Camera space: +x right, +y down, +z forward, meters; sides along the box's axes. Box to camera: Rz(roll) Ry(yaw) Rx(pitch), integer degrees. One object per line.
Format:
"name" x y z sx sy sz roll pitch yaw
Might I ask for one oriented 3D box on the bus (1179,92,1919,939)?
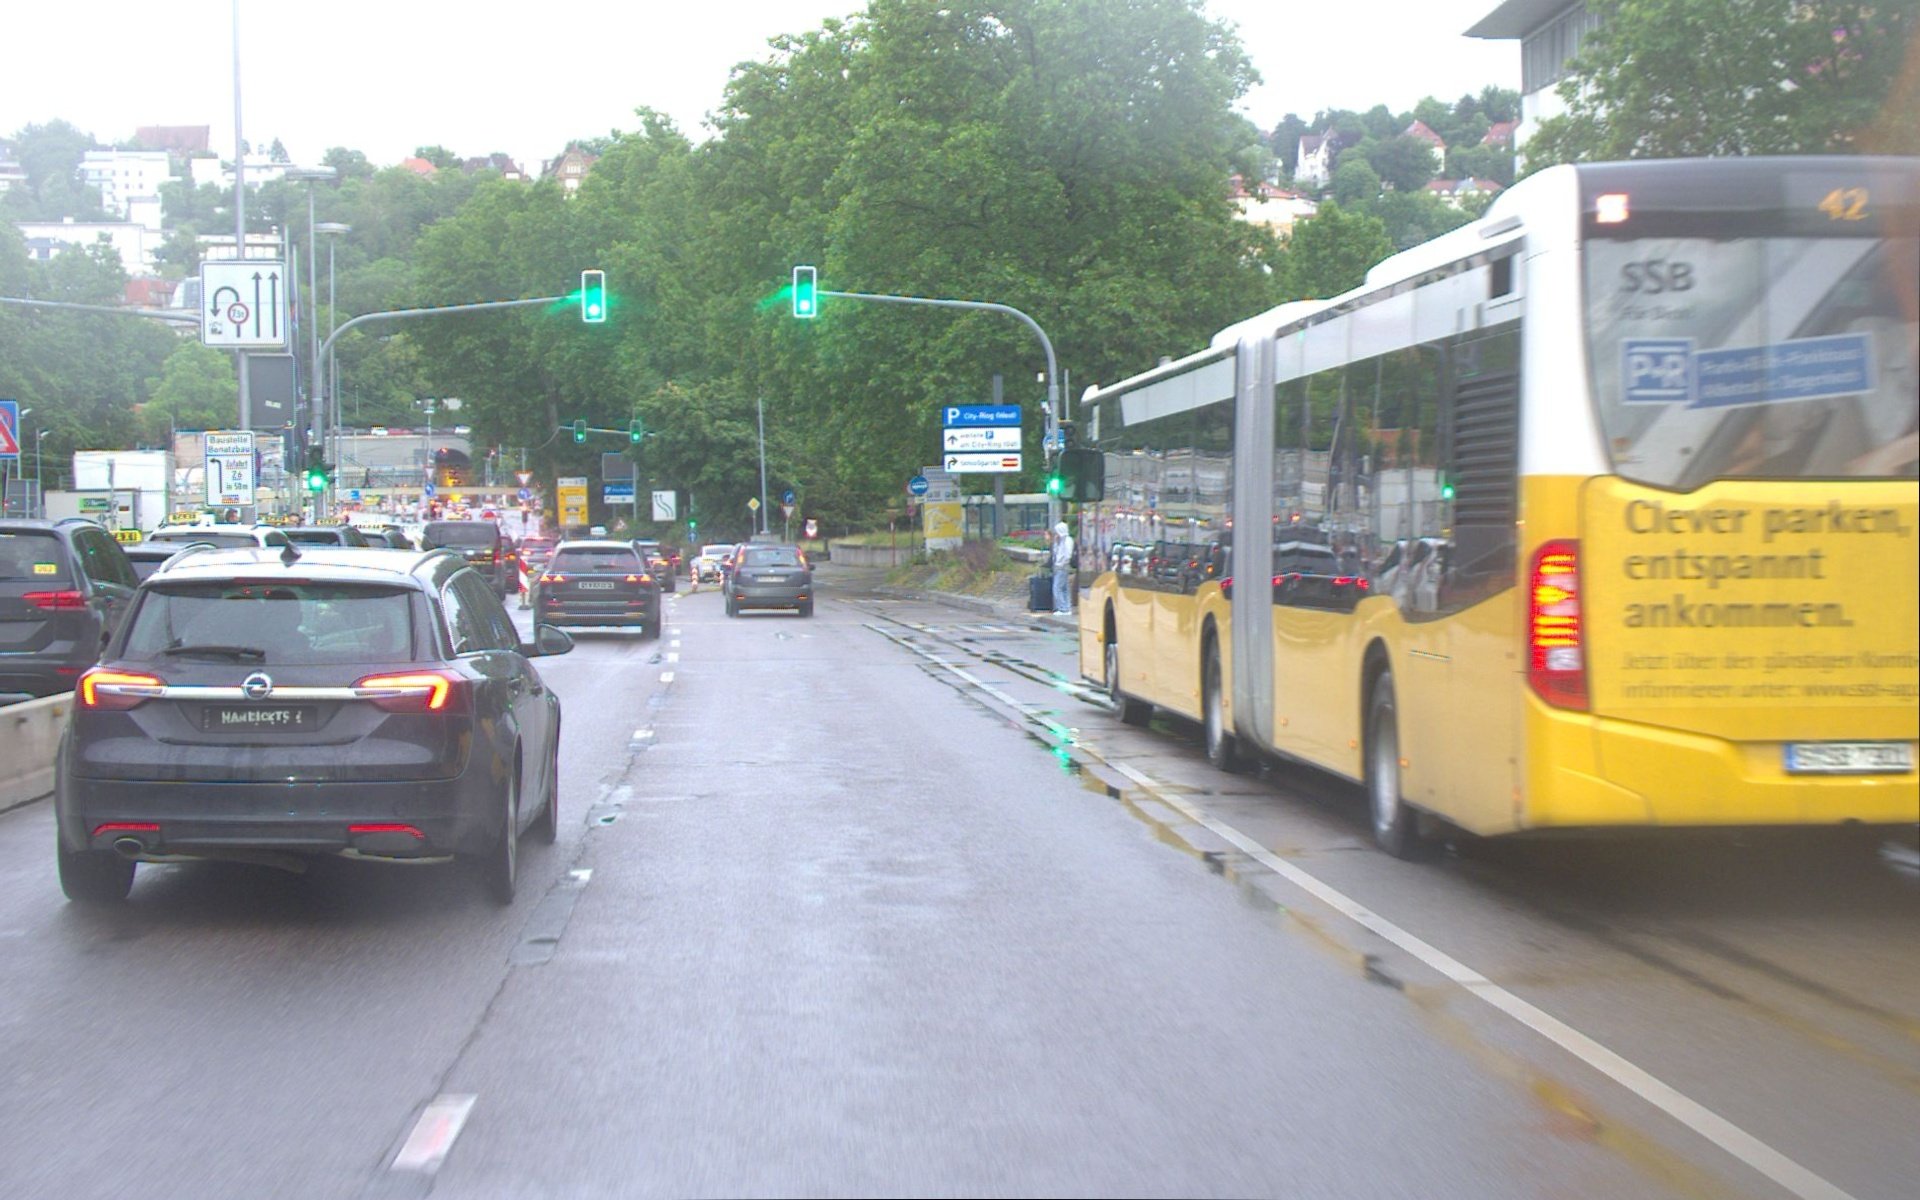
"bus" 3.198 -0.377 17.761 3.141 3.236 9.136 0 1 -3

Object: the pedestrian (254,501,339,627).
"pedestrian" -10.714 -0.585 55.505 0.835 2.007 1.026 0 2 35

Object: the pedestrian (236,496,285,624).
"pedestrian" -11.073 -0.633 54.428 0.621 2.007 0.836 -1 1 -4

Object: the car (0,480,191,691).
"car" -7.973 -0.148 29.476 1.993 1.648 4.642 -1 1 -4

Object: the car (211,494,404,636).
"car" -8.808 -0.501 46.778 1.993 1.781 4.848 -1 1 -4

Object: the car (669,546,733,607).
"car" -6.889 -0.638 91.650 1.674 1.576 3.240 0 1 -4

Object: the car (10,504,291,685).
"car" -8.298 -0.107 35.709 2.049 1.705 5.056 -1 1 -4

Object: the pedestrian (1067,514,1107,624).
"pedestrian" 2.507 -0.615 67.708 0.554 2.138 0.668 -1 1 -18

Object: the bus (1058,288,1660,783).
"bus" 2.724 -0.473 26.919 3.113 3.194 9.243 0 1 -3

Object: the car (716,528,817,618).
"car" -3.833 -0.540 67.715 1.851 1.711 4.001 0 1 -5

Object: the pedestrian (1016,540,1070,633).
"pedestrian" 1.670 -0.269 69.043 0.786 1.832 0.951 -1 1 -18

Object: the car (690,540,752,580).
"car" -9.610 -1.605 138.139 1.813 1.569 4.001 0 1 -14

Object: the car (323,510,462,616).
"car" -9.572 -0.653 58.317 1.786 1.680 4.667 -1 1 -3

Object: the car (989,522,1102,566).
"car" 2.983 -1.960 120.651 3.615 1.500 1.731 1 1 36

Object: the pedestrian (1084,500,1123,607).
"pedestrian" 2.903 -0.945 69.460 0.708 2.138 0.721 -1 1 7

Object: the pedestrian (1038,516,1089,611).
"pedestrian" 1.987 -0.697 66.142 0.745 1.798 0.710 -1 1 -18

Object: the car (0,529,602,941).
"car" -2.725 0.448 15.109 1.877 1.503 4.852 -1 1 -1

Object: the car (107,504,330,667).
"car" -8.723 -0.207 40.776 1.993 1.781 4.455 -1 1 -5

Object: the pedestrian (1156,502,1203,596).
"pedestrian" 4.256 -0.993 66.547 0.539 1.798 0.758 -2 1 -31

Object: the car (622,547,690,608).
"car" -8.635 -0.647 97.618 1.903 1.711 4.001 0 1 -5

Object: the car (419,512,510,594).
"car" -11.482 -1.091 79.928 1.993 1.839 5.064 0 1 -7

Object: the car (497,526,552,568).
"car" -19.121 -2.337 150.777 1.993 1.820 4.001 0 1 -13

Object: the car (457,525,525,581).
"car" -13.070 -1.308 95.915 1.823 1.506 4.491 0 1 -7

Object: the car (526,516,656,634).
"car" -5.537 -0.399 51.978 1.830 1.680 4.135 -1 1 -5

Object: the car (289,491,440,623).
"car" -8.990 -0.670 52.234 1.713 1.885 4.611 -1 1 -3
